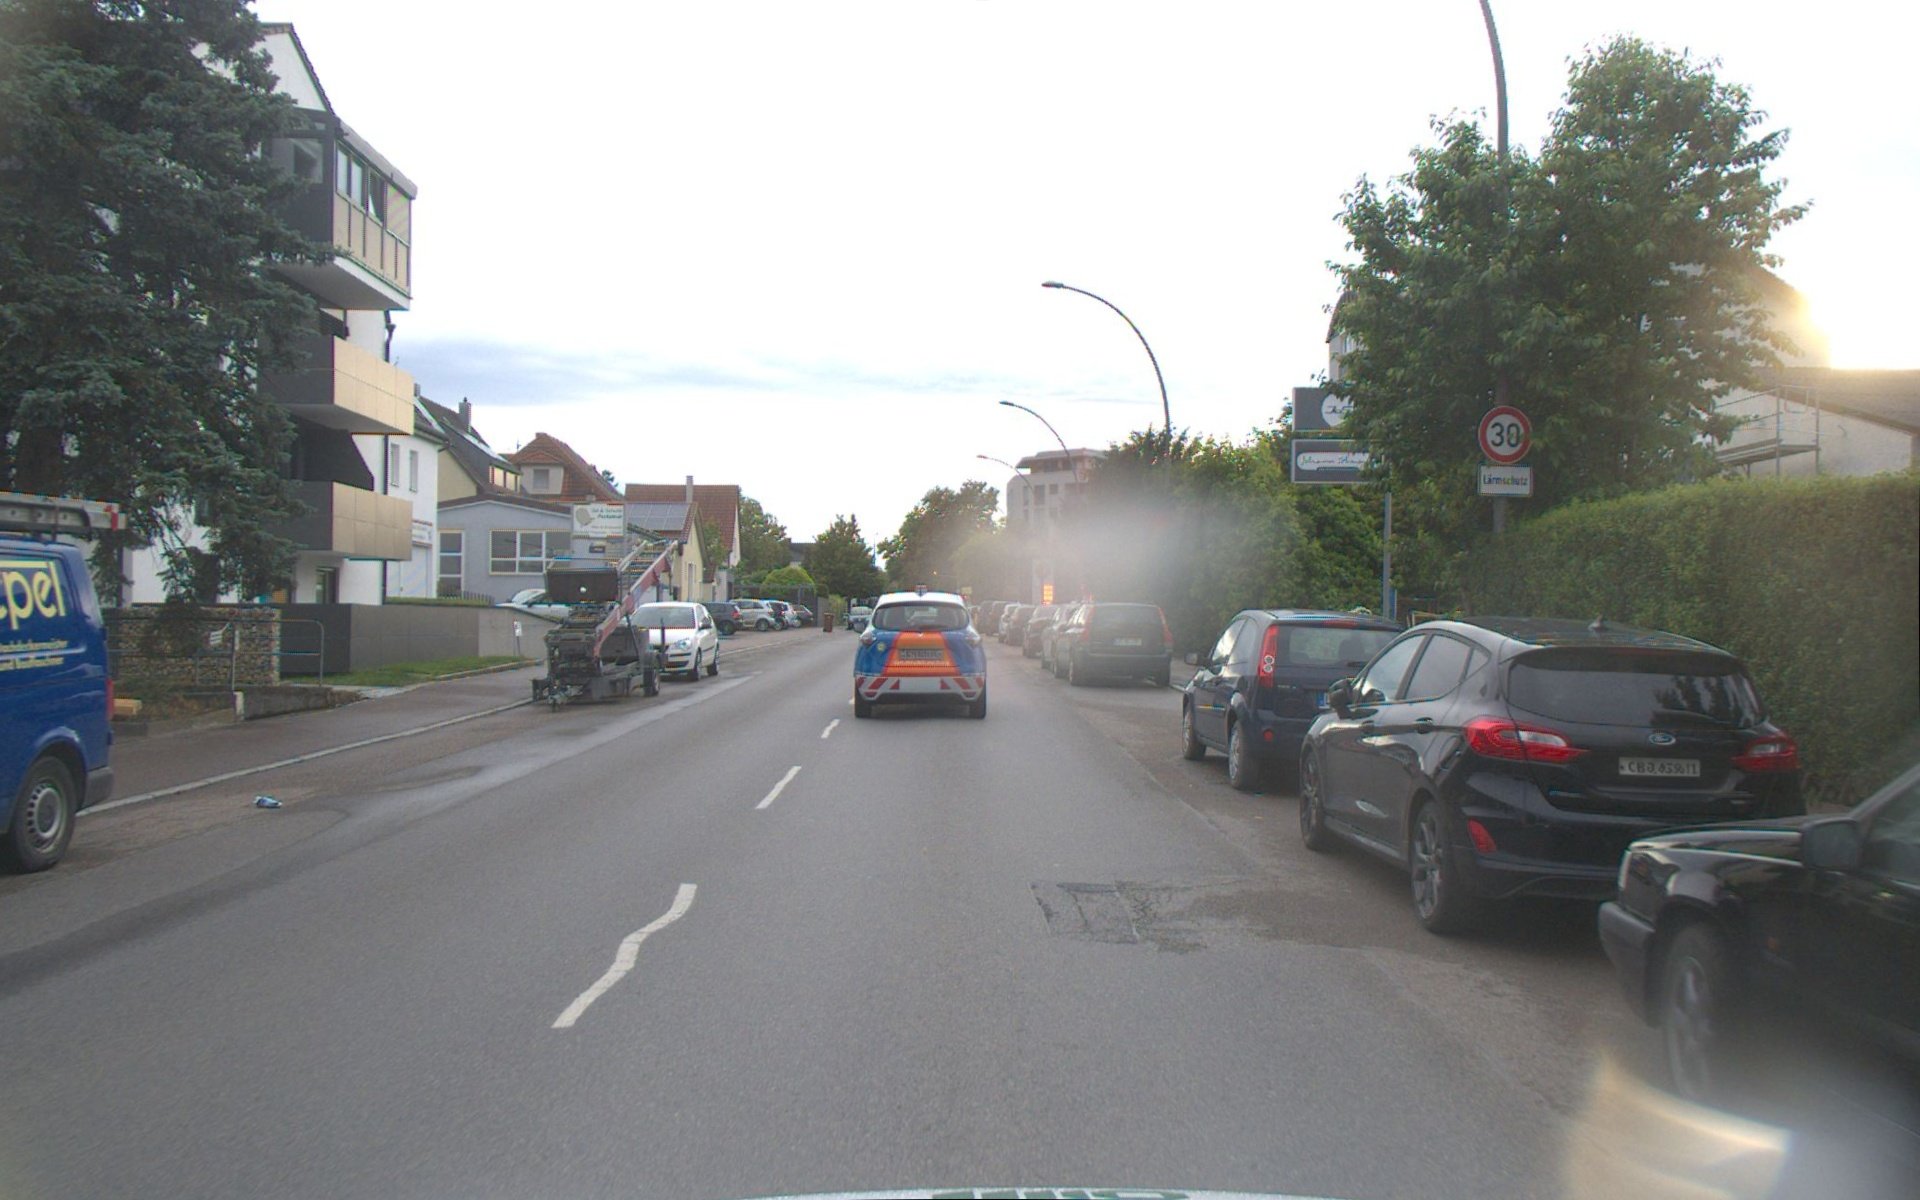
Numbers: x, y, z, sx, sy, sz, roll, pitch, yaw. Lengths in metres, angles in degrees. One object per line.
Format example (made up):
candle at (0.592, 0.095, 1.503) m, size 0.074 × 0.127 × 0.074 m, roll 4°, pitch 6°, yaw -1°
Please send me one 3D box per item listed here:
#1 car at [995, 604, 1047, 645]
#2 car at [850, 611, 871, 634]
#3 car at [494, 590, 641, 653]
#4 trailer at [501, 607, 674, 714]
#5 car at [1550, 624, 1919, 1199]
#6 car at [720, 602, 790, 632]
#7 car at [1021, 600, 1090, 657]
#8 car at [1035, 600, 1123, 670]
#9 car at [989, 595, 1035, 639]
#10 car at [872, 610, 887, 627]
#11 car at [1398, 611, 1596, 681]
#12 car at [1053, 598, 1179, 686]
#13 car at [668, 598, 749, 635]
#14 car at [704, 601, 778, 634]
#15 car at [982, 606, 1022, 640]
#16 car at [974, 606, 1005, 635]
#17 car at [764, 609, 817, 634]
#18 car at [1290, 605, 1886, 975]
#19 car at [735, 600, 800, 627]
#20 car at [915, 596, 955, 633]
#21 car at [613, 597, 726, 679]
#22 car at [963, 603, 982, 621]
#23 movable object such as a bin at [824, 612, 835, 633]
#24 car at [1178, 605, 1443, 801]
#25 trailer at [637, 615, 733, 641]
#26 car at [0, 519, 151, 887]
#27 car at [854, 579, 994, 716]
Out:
car at (2.112, 0.842, 58.026) m, size 1.616 × 1.359 × 3.999 m, roll 0°, pitch 0°, yaw -1°
car at (-6.722, 1.497, 111.725) m, size 1.358 × 1.509 × 3.782 m, roll 1°, pitch 0°, yaw -2°
car at (-10.964, 0.600, 46.401) m, size 3.684 × 1.595 × 1.654 m, roll 2°, pitch -1°, yaw -2°
trailer at (-5.636, 0.859, 25.641) m, size 1.683 × 1.282 × 5.242 m, roll 2°, pitch 1°, yaw -3°
car at (3.048, 0.810, 3.554) m, size 1.623 × 1.444 × 4.774 m, roll 2°, pitch -1°, yaw -3°
car at (-11.221, 0.931, 90.647) m, size 3.686 × 1.509 × 1.653 m, roll 2°, pitch -1°, yaw -5°
car at (2.530, 0.750, 44.382) m, size 1.572 × 1.398 × 4.086 m, roll 2°, pitch -1°, yaw 0°
car at (2.578, 0.728, 36.411) m, size 1.509 × 1.454 × 3.749 m, roll 0°, pitch 0°, yaw -2°
car at (1.962, 0.670, 63.320) m, size 1.451 × 1.583 × 3.859 m, roll 2°, pitch -1°, yaw -2°
car at (-6.302, 1.458, 129.934) m, size 1.128 × 1.254 × 3.370 m, roll 0°, pitch 0°, yaw -2°
car at (11.734, 0.962, 36.283) m, size 1.529 × 1.423 × 3.890 m, roll 0°, pitch 0°, yaw -44°
car at (2.820, 0.756, 30.788) m, size 1.677 × 1.464 × 4.523 m, roll 2°, pitch -1°, yaw -3°
car at (-11.491, 0.743, 75.698) m, size 3.510 × 1.553 × 1.653 m, roll 2°, pitch -1°, yaw -5°
car at (-11.396, 0.910, 86.281) m, size 3.686 × 1.604 × 1.653 m, roll 2°, pitch -1°, yaw -5°
car at (1.990, 1.096, 79.282) m, size 1.617 × 1.548 × 3.998 m, roll 2°, pitch -1°, yaw -2°
car at (1.757, 1.255, 101.049) m, size 1.617 × 1.701 × 3.998 m, roll 2°, pitch -1°, yaw -2°
car at (-10.478, 1.341, 102.565) m, size 3.217 × 1.473 × 1.478 m, roll 0°, pitch 0°, yaw -5°
car at (3.018, 0.803, 8.846) m, size 1.624 × 1.474 × 3.828 m, roll 2°, pitch 0°, yaw -1°
car at (-10.994, 0.767, 94.568) m, size 3.582 × 1.509 × 1.478 m, roll 0°, pitch 0°, yaw -5°
car at (-1.147, 0.663, 74.094) m, size 1.617 × 1.548 × 3.998 m, roll 2°, pitch -1°, yaw -2°
car at (-5.671, 0.727, 32.705) m, size 1.525 × 1.458 × 3.999 m, roll 2°, pitch -1°, yaw -1°
car at (1.227, 1.201, 160.331) m, size 1.617 × 1.682 × 3.998 m, roll 2°, pitch -1°, yaw -2°
movable object such as a bin at (-7.629, 1.329, 96.644) m, size 0.568 × 1.225 × 0.318 m, roll 1°, pitch -1°, yaw -1°
car at (2.970, 0.803, 14.714) m, size 1.457 × 1.464 × 3.806 m, roll 2°, pitch 0°, yaw -1°
trailer at (-12.144, 1.250, 73.212) m, size 3.941 × 1.012 × 1.654 m, roll 2°, pitch -1°, yaw -2°
car at (-6.113, 0.515, 7.837) m, size 1.953 × 1.981 × 5.363 m, roll 2°, pitch -1°, yaw -1°
car at (-0.477, 0.602, 22.013) m, size 1.696 × 1.659 × 3.493 m, roll 1°, pitch -1°, yaw -2°
